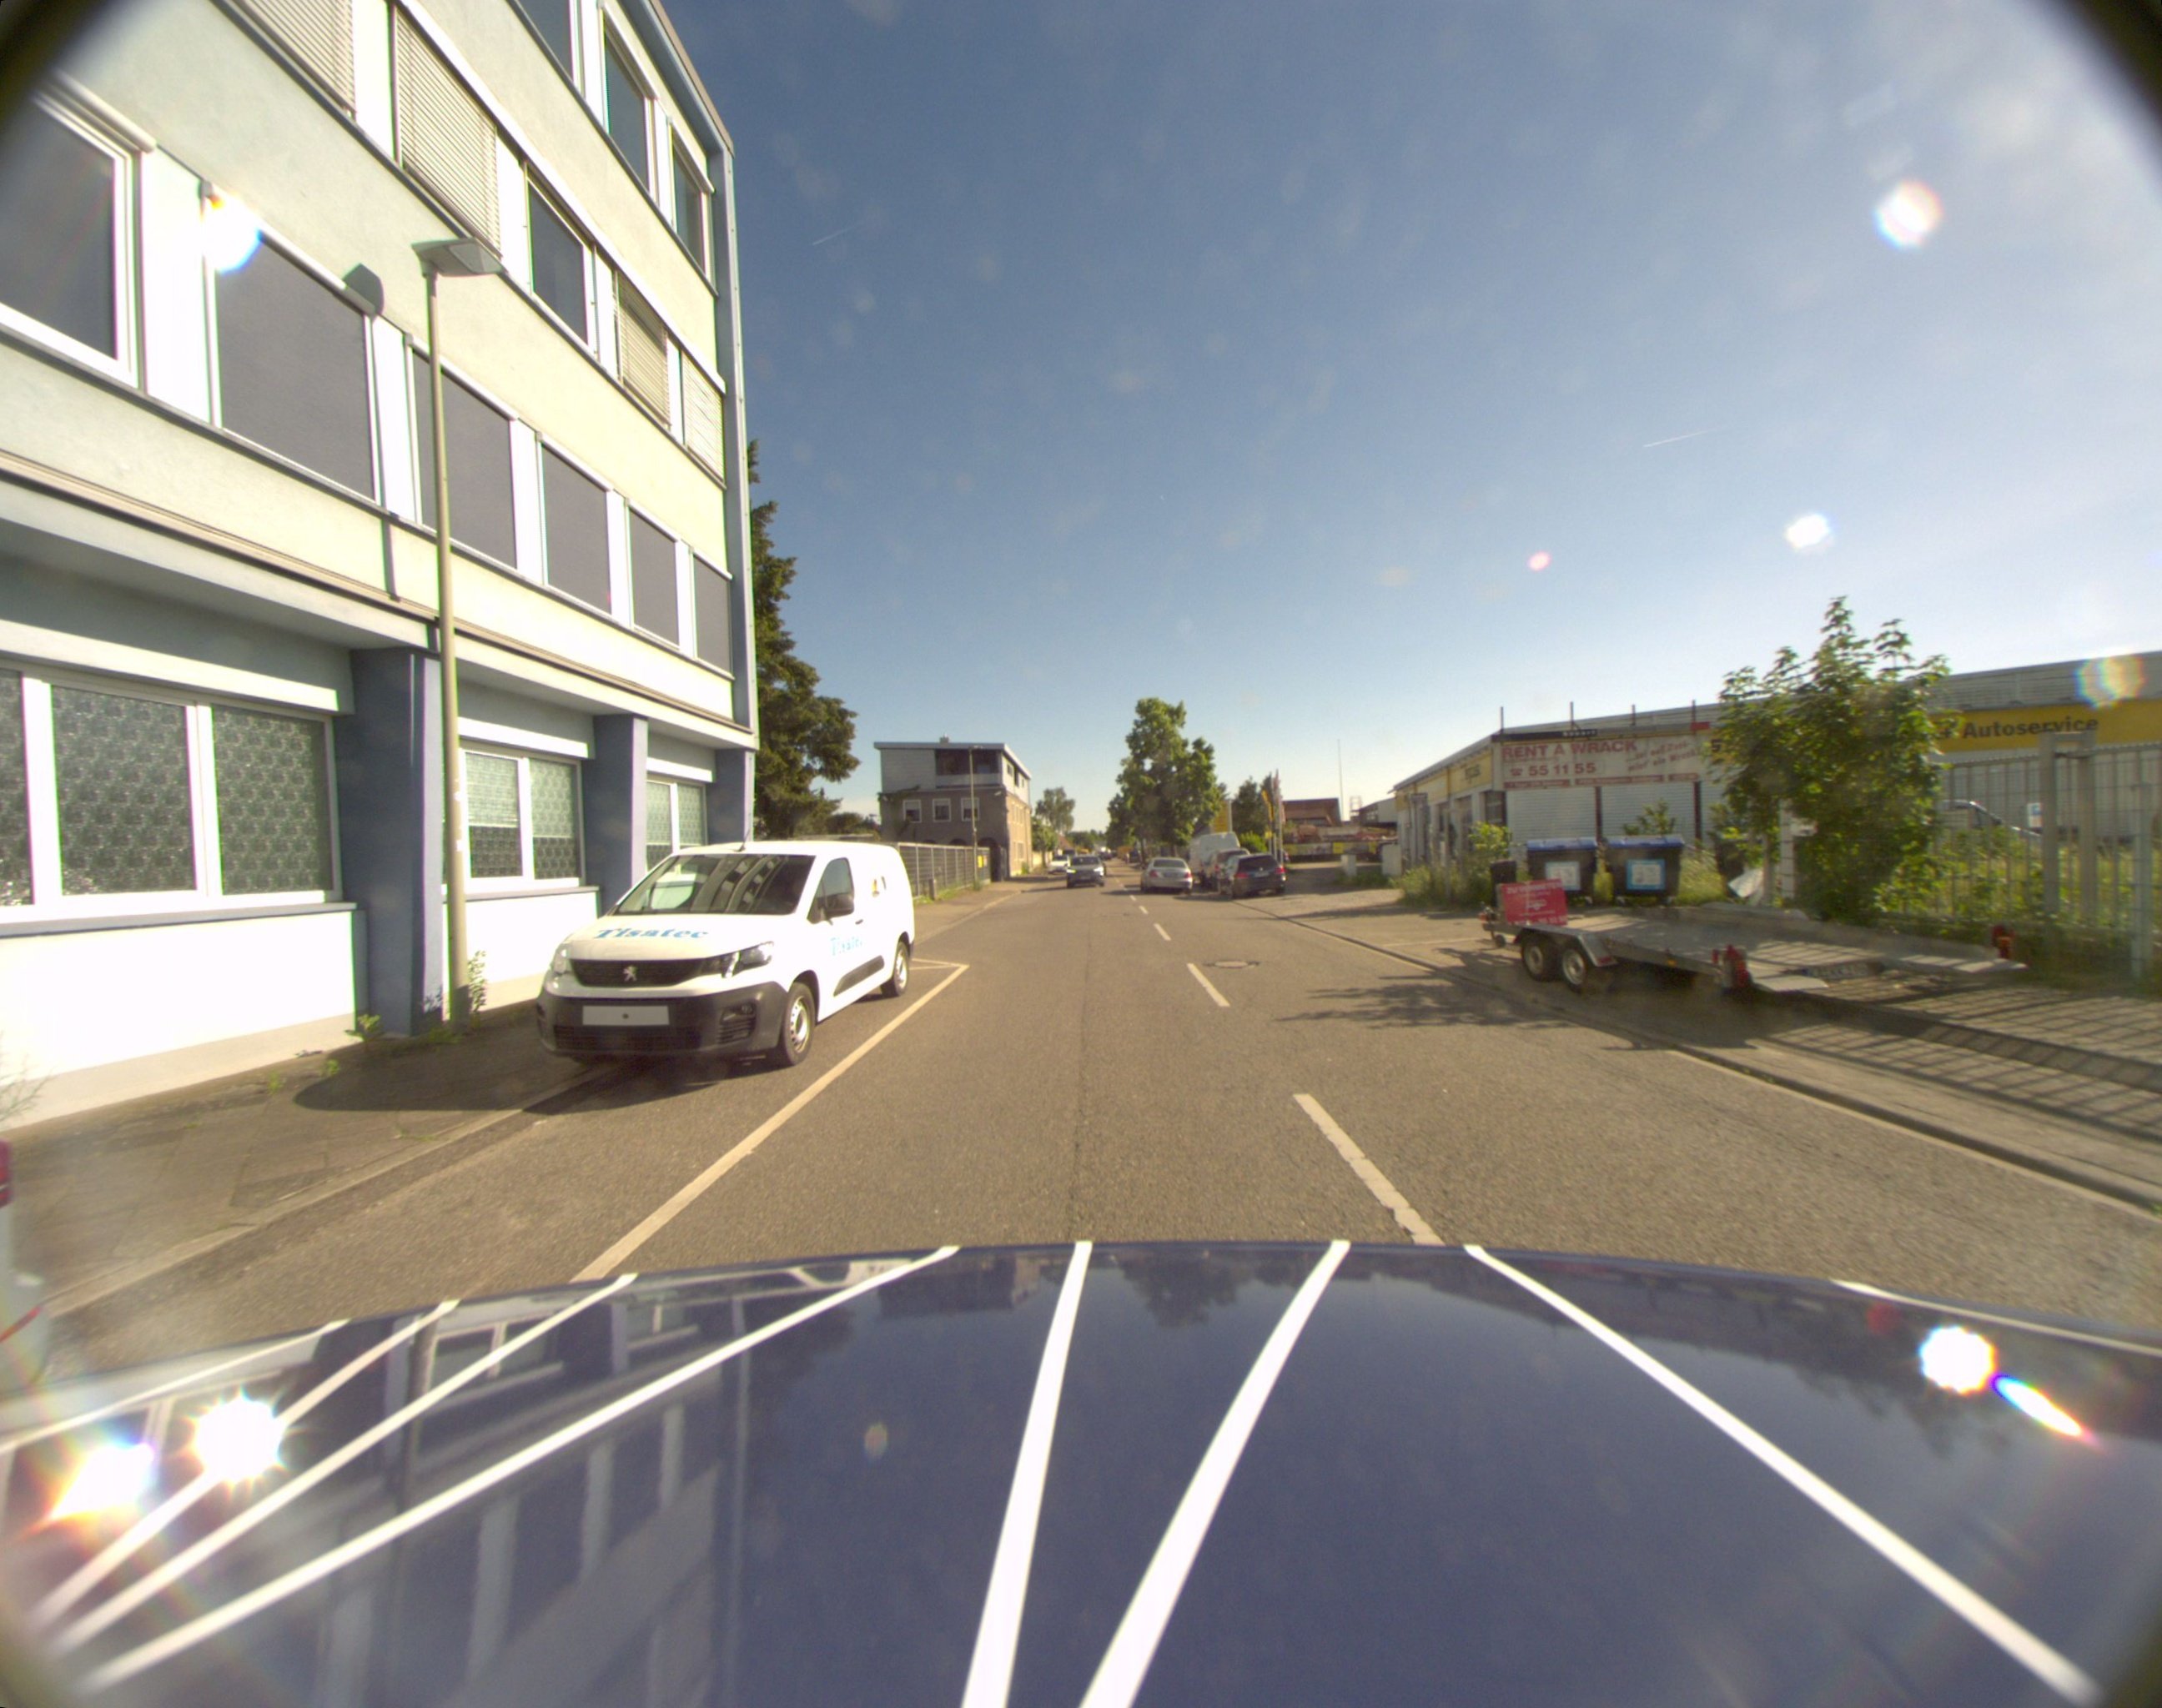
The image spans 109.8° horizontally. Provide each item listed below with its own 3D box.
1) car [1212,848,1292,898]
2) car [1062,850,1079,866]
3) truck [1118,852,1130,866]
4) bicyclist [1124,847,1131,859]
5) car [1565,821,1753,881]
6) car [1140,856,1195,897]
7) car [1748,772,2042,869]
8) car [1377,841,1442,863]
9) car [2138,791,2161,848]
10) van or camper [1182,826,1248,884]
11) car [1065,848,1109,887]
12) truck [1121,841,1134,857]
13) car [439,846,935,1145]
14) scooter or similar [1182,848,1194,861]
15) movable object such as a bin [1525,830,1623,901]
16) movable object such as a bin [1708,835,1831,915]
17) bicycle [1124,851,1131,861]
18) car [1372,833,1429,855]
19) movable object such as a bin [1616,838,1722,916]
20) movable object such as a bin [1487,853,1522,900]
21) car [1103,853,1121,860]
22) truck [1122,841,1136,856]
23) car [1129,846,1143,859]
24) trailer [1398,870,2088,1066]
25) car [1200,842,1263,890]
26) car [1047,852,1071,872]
[{"bbox_3d":[6.166,0.610,27.985,1.804,1.501,5.002,-6,0,2],"label":"car"},{"bbox_3d":[-1.142,0.426,87.982,1.686,1.604,4.205,-4,0,2],"label":"car"},{"bbox_3d":[10.168,1.178,180.048,2.286,3.012,5.910,-8,1,2],"label":"truck"},{"bbox_3d":[6.071,-0.073,99.013,0.841,1.533,1.136,1,2,4],"label":"bicyclist"},{"bbox_3d":[17.688,-0.091,23.469,4.165,1.565,1.917,-3,1,11],"label":"car"},{"bbox_3d":[3.442,0.862,30.949,1.751,1.439,4.360,-2,0,1],"label":"car"},{"bbox_3d":[23.472,-0.910,22.242,5.446,2.392,2.208,-3,1,18],"label":"car"},{"bbox_3d":[26.529,-0.179,61.512,4.450,1.499,2.002,-3,1,13],"label":"car"},{"bbox_3d":[31.673,-1.031,20.067,4.164,1.565,1.850,-3,1,14],"label":"car"},{"bbox_3d":[6.701,0.039,38.801,2.076,2.534,6.403,-7,0,1],"label":"van or camper"},{"bbox_3d":[0.333,0.652,38.819,1.998,1.750,5.015,-3,0,1],"label":"car"},{"bbox_3d":[9.183,-1.041,149.281,2.145,2.857,5.749,-4,1,2],"label":"truck"},{"bbox_3d":[-3.006,0.884,7.388,1.894,1.821,5.090,-3,1,2],"label":"car"},{"bbox_3d":[10.645,0.027,75.510,0.483,1.263,1.576,-3,1,-16],"label":"scooter or similar"},{"bbox_3d":[10.347,0.241,16.036,1.620,1.397,1.097,-3,1,29],"label":"movable object such as a bin"},{"bbox_3d":[12.866,0.384,14.268,1.462,1.397,1.097,-3,1,29],"label":"movable object such as a bin"},{"bbox_3d":[6.062,0.254,99.021,0.841,1.233,2.604,1,1,4],"label":"bicycle"},{"bbox_3d":[28.004,-0.887,66.742,4.325,1.646,2.002,-3,1,13],"label":"car"},{"bbox_3d":[11.577,0.448,15.042,1.462,1.434,1.097,-3,1,29],"label":"movable object such as a bin"},{"bbox_3d":[9.357,0.498,16.818,0.615,0.967,0.750,-2,3,25],"label":"movable object such as a bin"},{"bbox_3d":[6.087,0.505,149.737,1.871,1.412,4.538,-1,0,26],"label":"car"},{"bbox_3d":[8.989,-1.034,142.442,2.173,2.698,5.749,-4,1,2],"label":"truck"},{"bbox_3d":[7.997,-0.232,110.859,1.779,1.838,4.616,-5,0,4],"label":"car"},{"bbox_3d":[6.132,0.902,8.666,2.382,1.073,6.246,-6,0,1],"label":"trailer"},{"bbox_3d":[6.503,0.476,33.259,1.998,1.728,4.575,-6,0,4],"label":"car"},{"bbox_3d":[-1.850,0.673,66.219,1.937,1.635,4.769,-2,0,0],"label":"car"}]
